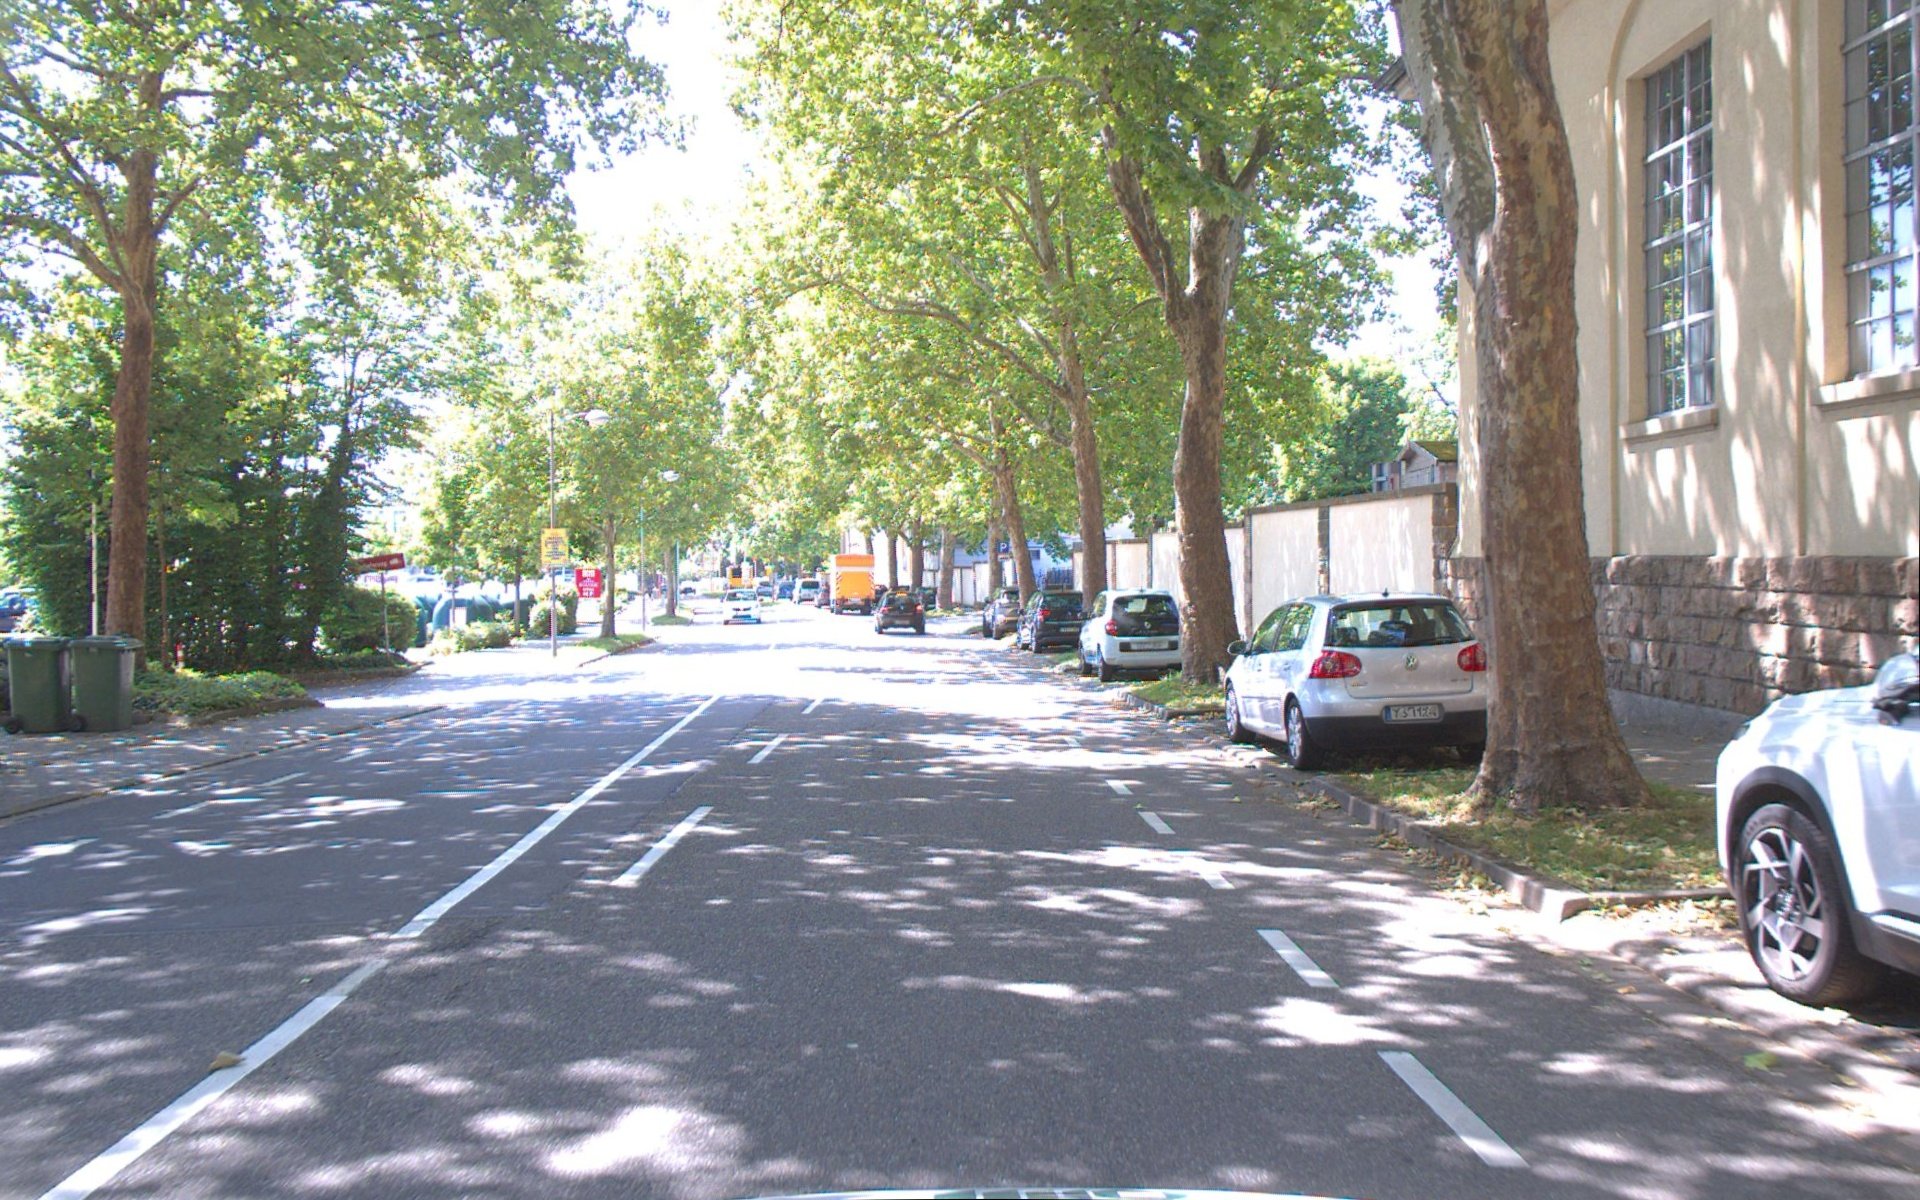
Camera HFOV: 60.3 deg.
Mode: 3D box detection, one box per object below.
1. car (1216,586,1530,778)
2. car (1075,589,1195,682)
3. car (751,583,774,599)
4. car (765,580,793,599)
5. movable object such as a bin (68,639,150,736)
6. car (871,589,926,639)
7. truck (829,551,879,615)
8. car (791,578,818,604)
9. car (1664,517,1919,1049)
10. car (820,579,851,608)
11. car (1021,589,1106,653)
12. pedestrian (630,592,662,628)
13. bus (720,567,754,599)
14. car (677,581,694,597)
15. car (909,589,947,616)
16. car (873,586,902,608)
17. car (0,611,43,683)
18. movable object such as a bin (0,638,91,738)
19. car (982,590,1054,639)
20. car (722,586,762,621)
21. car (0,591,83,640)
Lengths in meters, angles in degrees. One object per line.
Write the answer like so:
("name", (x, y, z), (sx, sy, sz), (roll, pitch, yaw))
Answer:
("car", (3.617, 0.647, 15.200), (1.731, 1.458, 3.873), (-3, 0, -2))
("car", (3.085, 0.588, 29.839), (1.546, 1.491, 3.873), (-3, 0, -2))
("car", (-18.059, -0.830, 151.120), (1.736, 1.398, 3.717), (-3, 0, -13))
("car", (-14.711, -0.867, 134.160), (1.737, 1.398, 3.716), (-3, 0, -14))
("movable object such as a bin", (-9.834, 1.005, 19.122), (0.611, 1.066, 0.620), (-1, 0, -1))
("car", (-2.199, 0.468, 58.384), (1.678, 1.472, 4.054), (-2, 3, -5))
("truck", (-5.756, -0.858, 89.040), (2.325, 3.189, 5.760), (-1, -1, -7))
("car", (-11.093, -0.623, 118.170), (1.843, 1.715, 3.995), (-1, -1, -6))
("car", (3.963, 0.556, 4.714), (1.771, 1.718, 4.751), (-3, 0, -1))
("car", (-7.888, -0.384, 104.852), (1.743, 1.734, 3.993), (-1, -1, -7))
("car", (2.601, 0.502, 42.280), (1.731, 1.491, 3.873), (-3, 0, -2))
("pedestrian", (-13.764, 0.441, 72.524), (0.946, 1.547, 1.098), (-1, 0, 18))
("bus", (-24.485, -1.833, 181.346), (2.618, 3.205, 11.159), (-2, 0, -13))
("car", (-32.661, -1.299, 196.815), (1.691, 1.747, 3.986), (-1, 0, -13))
("car", (-1.744, 0.151, 88.814), (1.732, 1.398, 3.725), (-1, 0, -6))
("car", (-4.873, -0.215, 111.169), (1.732, 1.398, 3.725), (-3, 0, -6))
("car", (-20.960, 1.014, 34.541), (1.685, 1.486, 3.789), (-1, 0, -4))
("movable object such as a bin", (-10.564, 1.002, 19.063), (0.720, 1.097, 0.701), (-1, 0, -1))
("car", (1.773, 0.434, 51.959), (1.732, 1.398, 3.725), (-3, 0, -6))
("car", (-9.811, 0.170, 74.597), (1.678, 1.473, 4.052), (-2, 0, -6))
("car", (-32.265, 0.534, 56.728), (3.706, 1.613, 1.595), (-1, 0, -23))
